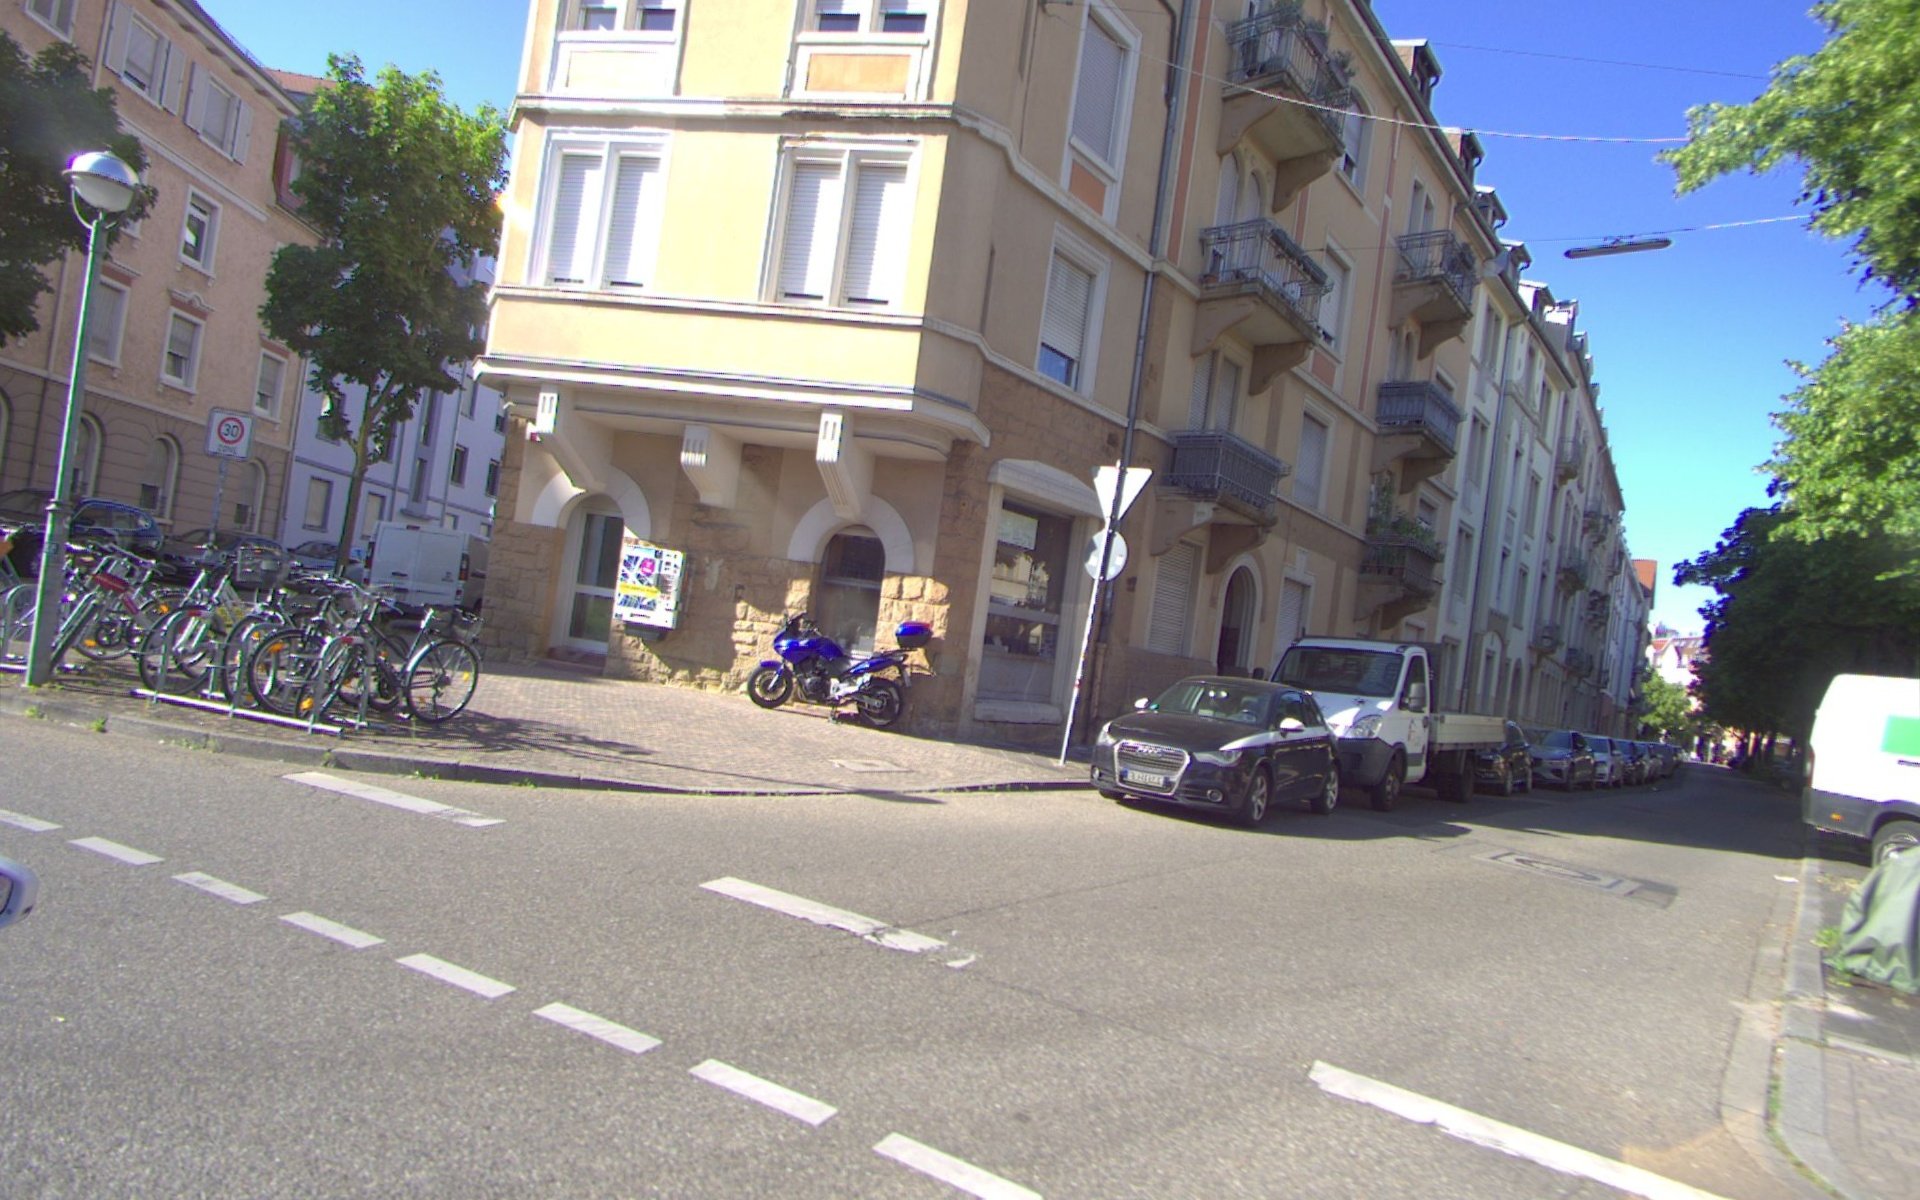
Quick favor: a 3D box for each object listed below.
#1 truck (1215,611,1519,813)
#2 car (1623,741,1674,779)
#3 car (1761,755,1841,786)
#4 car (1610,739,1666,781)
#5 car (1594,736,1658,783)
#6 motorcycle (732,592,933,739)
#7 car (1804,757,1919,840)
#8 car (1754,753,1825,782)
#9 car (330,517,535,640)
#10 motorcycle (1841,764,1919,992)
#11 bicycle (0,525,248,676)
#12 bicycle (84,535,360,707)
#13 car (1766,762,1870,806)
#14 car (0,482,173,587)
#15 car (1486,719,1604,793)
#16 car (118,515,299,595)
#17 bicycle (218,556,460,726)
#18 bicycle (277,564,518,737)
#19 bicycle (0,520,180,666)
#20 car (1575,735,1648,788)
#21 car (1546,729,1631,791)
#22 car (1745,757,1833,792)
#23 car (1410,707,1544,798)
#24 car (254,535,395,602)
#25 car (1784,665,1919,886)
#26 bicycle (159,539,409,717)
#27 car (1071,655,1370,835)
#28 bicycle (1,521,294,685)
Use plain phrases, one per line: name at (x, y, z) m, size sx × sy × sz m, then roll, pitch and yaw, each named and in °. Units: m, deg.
truck at (6.486, 1.758, 15.351) m, size 2.110 × 2.317 × 6.595 m, roll 5°, pitch -3°, yaw 41°
car at (31.836, 7.348, 46.472) m, size 1.663 × 1.405 × 3.912 m, roll 5°, pitch -3°, yaw 37°
car at (60.732, 12.291, 72.688) m, size 1.780 × 1.526 × 3.977 m, roll 9°, pitch -4°, yaw -26°
car at (28.206, 6.598, 41.794) m, size 1.663 × 1.405 × 3.912 m, roll 5°, pitch -3°, yaw 37°
car at (24.740, 5.895, 37.313) m, size 1.663 × 1.405 × 3.912 m, roll 5°, pitch -3°, yaw 37°
motorcycle at (-1.586, 0.801, 12.608) m, size 2.208 × 1.428 × 0.701 m, roll 9°, pitch 0°, yaw 10°
car at (22.336, 4.795, 23.539) m, size 1.667 × 1.475 × 3.476 m, roll 9°, pitch -1°, yaw -23°
car at (65.910, 13.306, 79.987) m, size 1.787 × 1.526 × 3.961 m, roll 10°, pitch -4°, yaw -37°
car at (-10.450, -0.329, 20.398) m, size 2.106 × 1.930 × 4.557 m, roll 8°, pitch -2°, yaw -9°
motorcycle at (6.265, 1.748, 5.745) m, size 0.535 × 1.285 × 1.690 m, roll 8°, pitch 0°, yaw -43°
bicycle at (-7.159, 0.041, 8.448) m, size 0.526 × 1.102 × 1.881 m, roll 7°, pitch -2°, yaw 19°
bicycle at (-5.757, 0.197, 7.996) m, size 0.605 × 1.158 × 1.699 m, roll 7°, pitch -2°, yaw 11°
car at (46.202, 9.906, 54.285) m, size 1.663 × 1.591 × 3.914 m, roll 8°, pitch -3°, yaw -15°
car at (-18.018, -1.314, 19.762) m, size 1.876 × 1.660 × 4.345 m, roll 8°, pitch -2°, yaw -6°
car at (14.188, 3.764, 24.295) m, size 1.665 × 1.405 × 3.987 m, roll 5°, pitch -3°, yaw 41°
car at (-18.376, -1.039, 24.825) m, size 1.671 × 1.427 × 3.664 m, roll 8°, pitch -2°, yaw -3°
bicycle at (-4.754, 0.338, 7.860) m, size 0.474 × 1.136 × 1.699 m, roll 7°, pitch -2°, yaw 11°
bicycle at (-4.259, 0.404, 7.790) m, size 0.474 × 1.136 × 1.721 m, roll 7°, pitch -2°, yaw 13°
bicycle at (-7.899, -0.065, 8.571) m, size 0.686 × 1.142 × 1.871 m, roll 6°, pitch -3°, yaw 13°
car at (21.640, 5.324, 33.352) m, size 1.663 × 1.405 × 3.912 m, roll 5°, pitch -3°, yaw 37°
car at (18.074, 4.561, 28.871) m, size 1.663 × 1.405 × 3.912 m, roll 5°, pitch -3°, yaw 37°
car at (53.372, 11.211, 64.882) m, size 1.773 × 1.526 × 3.991 m, roll 8°, pitch -3°, yaw -15°
car at (10.390, 3.017, 20.073) m, size 1.663 × 1.405 × 3.912 m, roll 5°, pitch -3°, yaw 37°
car at (-18.931, -0.882, 30.214) m, size 1.671 × 1.502 × 4.004 m, roll 8°, pitch -2°, yaw -3°
car at (13.150, 2.366, 11.042) m, size 2.068 × 2.630 × 6.368 m, roll 9°, pitch -1°, yaw -8°
bicycle at (-5.215, 0.245, 7.910) m, size 0.443 × 1.205 × 1.699 m, roll 7°, pitch -2°, yaw 11°
car at (2.966, 1.516, 10.845) m, size 1.663 × 1.405 × 3.912 m, roll 5°, pitch -3°, yaw 37°
bicycle at (-6.575, 0.081, 8.272) m, size 0.626 × 1.158 × 1.698 m, roll 7°, pitch -2°, yaw 19°
